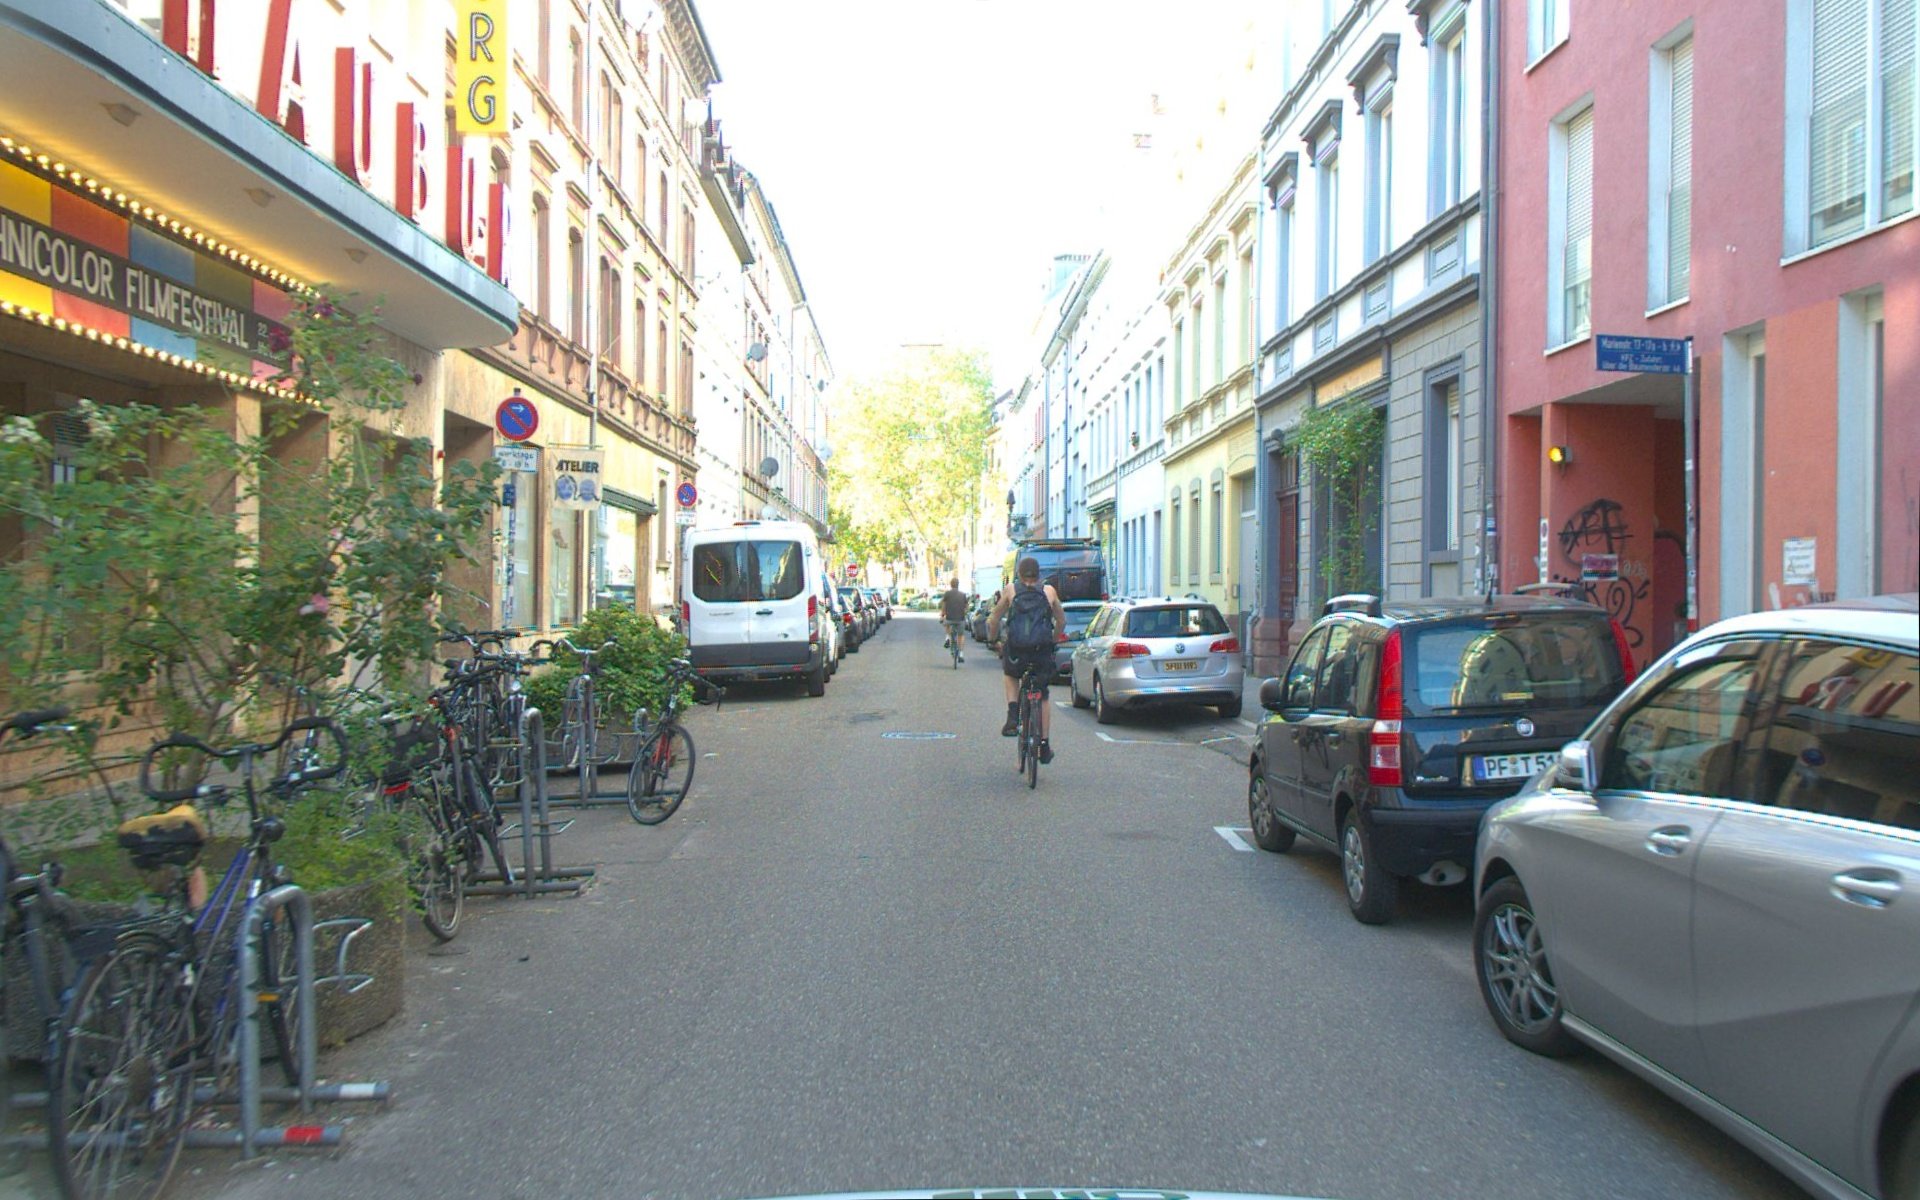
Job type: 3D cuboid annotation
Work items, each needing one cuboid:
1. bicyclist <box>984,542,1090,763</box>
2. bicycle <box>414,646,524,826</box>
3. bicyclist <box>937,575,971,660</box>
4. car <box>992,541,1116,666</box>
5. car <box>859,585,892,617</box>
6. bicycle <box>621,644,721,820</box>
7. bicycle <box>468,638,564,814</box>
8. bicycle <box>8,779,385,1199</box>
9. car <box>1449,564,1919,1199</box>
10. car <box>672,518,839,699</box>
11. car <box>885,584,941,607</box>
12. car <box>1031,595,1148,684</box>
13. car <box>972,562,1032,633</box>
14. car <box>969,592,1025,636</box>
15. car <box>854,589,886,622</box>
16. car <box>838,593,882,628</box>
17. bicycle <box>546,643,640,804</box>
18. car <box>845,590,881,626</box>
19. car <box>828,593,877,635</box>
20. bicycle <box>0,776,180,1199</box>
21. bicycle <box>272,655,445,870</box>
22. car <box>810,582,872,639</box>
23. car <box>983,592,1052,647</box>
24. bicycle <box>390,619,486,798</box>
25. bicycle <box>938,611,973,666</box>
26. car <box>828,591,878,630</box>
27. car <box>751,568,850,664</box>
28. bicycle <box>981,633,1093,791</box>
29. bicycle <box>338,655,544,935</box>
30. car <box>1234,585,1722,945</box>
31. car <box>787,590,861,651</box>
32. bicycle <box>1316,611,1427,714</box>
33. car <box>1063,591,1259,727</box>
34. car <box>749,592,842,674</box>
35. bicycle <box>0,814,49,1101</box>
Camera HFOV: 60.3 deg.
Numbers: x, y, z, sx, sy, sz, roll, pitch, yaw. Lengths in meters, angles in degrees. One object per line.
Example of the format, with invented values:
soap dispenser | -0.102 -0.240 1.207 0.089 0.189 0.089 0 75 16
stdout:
bicyclist | 0.612 0.409 13.467 0.725 1.708 1.116 2 0 -2
bicycle | -3.228 0.864 10.947 0.409 1.066 1.317 2 0 -5
bicyclist | -0.129 0.342 33.321 0.656 1.687 0.877 0 0 -2
car | 1.964 0.044 36.454 2.131 2.468 6.307 -1 0 -2
car | -4.779 0.067 93.963 1.752 1.767 3.874 0 0 -2
bicycle | -2.047 0.882 11.587 0.453 1.066 1.742 2 0 -17
bicycle | -3.352 0.917 12.581 0.391 1.194 1.668 2 0 -5
bicycle | -1.964 1.026 4.427 0.382 0.932 1.392 0 0 -1
car | 2.793 0.715 4.411 1.710 1.583 4.171 0 0 -1
car | -3.070 0.095 26.085 2.125 2.495 5.918 -1 0 -3
car | -3.766 -0.374 133.028 4.383 1.790 1.864 0 0 -6
car | 2.290 0.664 30.175 1.712 1.469 4.171 1 0 -1
car | 1.543 -0.108 62.990 2.159 2.595 6.036 0 0 1
car | 1.246 0.470 57.537 1.690 1.454 3.830 0 0 -3
car | -4.470 0.271 81.768 1.514 1.578 3.462 0 0 -5
car | -4.163 0.412 69.440 1.671 1.438 4.301 0 0 -2
bicycle | -2.777 0.899 12.628 0.433 1.066 1.863 2 0 -5
car | -4.349 0.329 74.395 1.573 1.557 3.377 -1 0 -3
car | -3.819 0.476 59.412 1.559 1.465 3.653 0 0 -1
bicycle | -2.550 1.002 4.058 0.542 0.960 1.571 0 0 -1
bicycle | -3.363 0.877 9.358 0.562 1.063 1.408 1 0 -6
car | -3.877 0.335 54.431 1.764 1.728 3.999 -2 0 -1
car | 1.615 0.522 47.711 1.711 1.511 4.241 0 0 -2
bicycle | -3.813 0.758 12.147 0.332 1.194 1.488 2 0 -5
bicycle | -0.104 0.754 33.471 0.650 1.055 1.958 0 0 -1
car | -4.144 0.395 64.380 1.639 1.455 3.888 0 0 1
car | -3.463 0.319 36.725 1.790 1.925 4.612 -2 0 -1
bicycle | 0.593 0.864 13.501 0.725 1.120 2.041 2 0 -2
bicycle | -2.462 0.870 8.042 0.535 1.113 1.880 2 0 -5
car | 2.635 0.737 9.223 1.569 1.566 3.450 -2 0 -1
car | -3.511 0.502 43.419 1.825 1.465 4.642 0 1 -3
bicycle | 4.841 0.713 19.583 0.696 1.116 1.899 -2 0 -4
car | 2.463 0.667 21.338 1.750 1.479 4.545 -3 0 -2
car | -3.144 0.591 32.139 1.612 1.472 3.837 0 0 -3
bicycle | -3.014 1.098 4.596 0.251 0.832 1.299 1 0 -1
